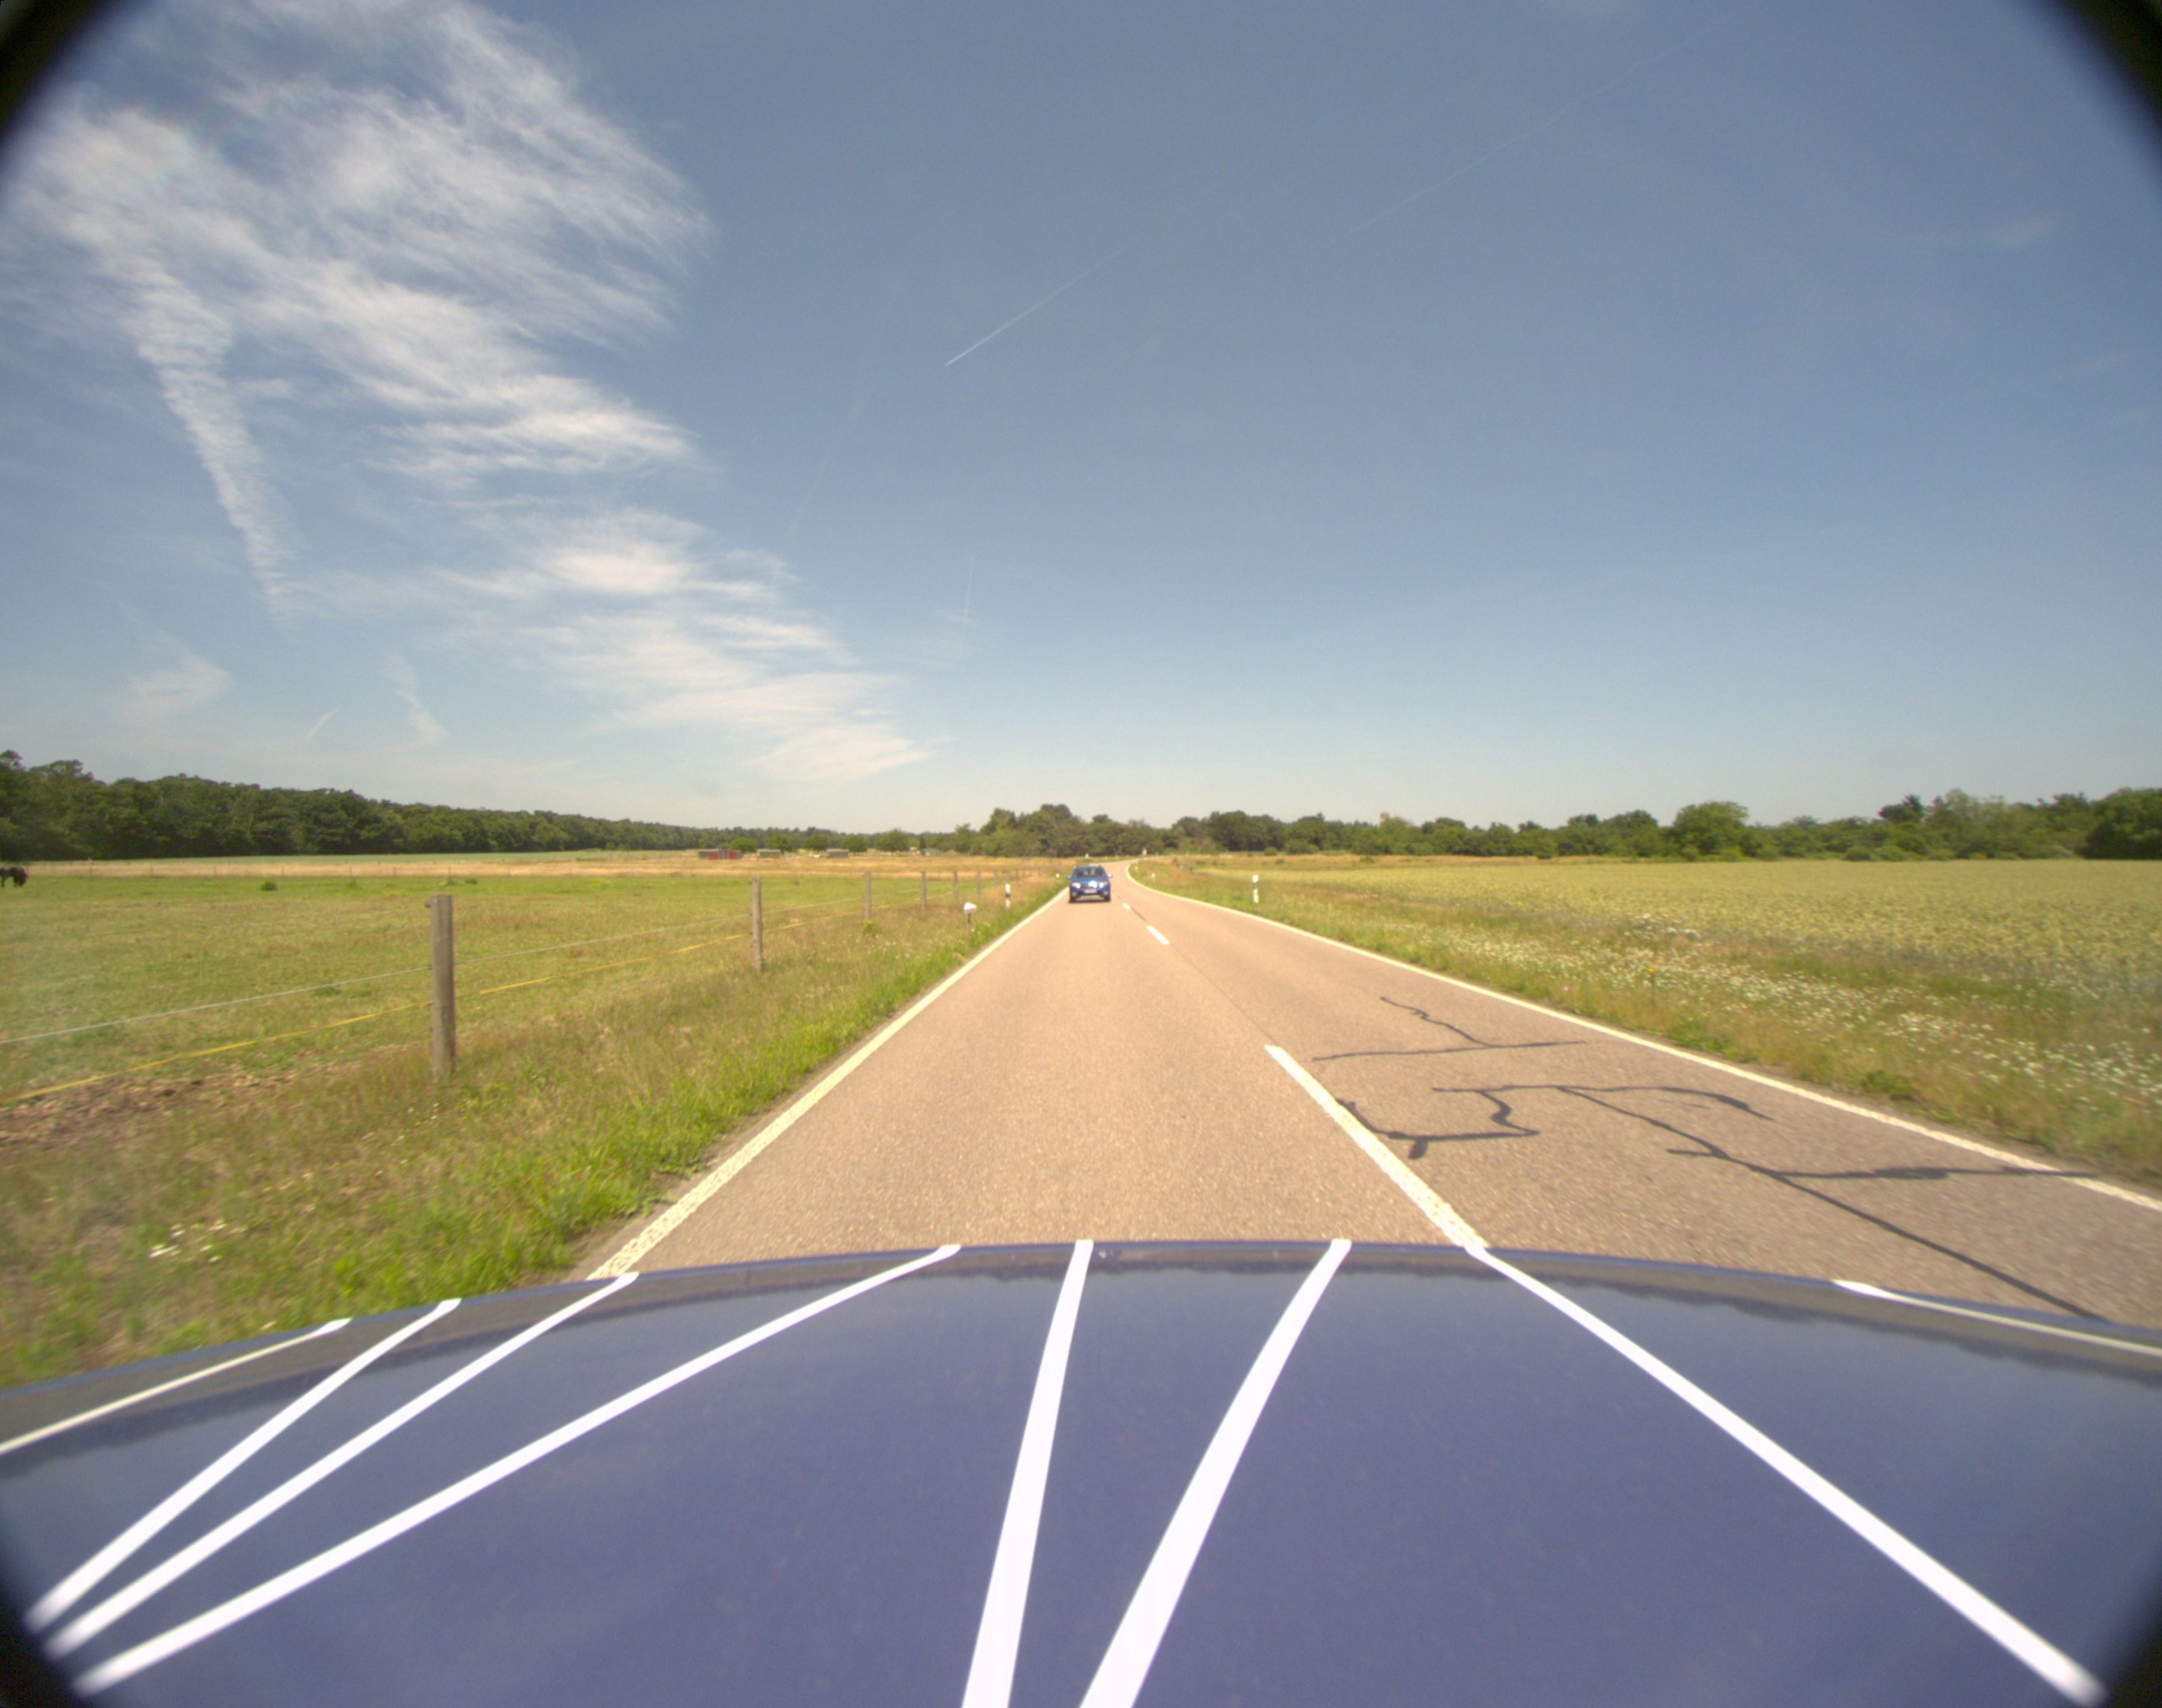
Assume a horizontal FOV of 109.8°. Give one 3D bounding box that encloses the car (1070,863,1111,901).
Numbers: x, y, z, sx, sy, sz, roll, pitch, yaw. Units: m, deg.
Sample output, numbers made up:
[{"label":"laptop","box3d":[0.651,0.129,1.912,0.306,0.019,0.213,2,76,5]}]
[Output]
[{"label":"car","box3d":[0.424,1.230,35.008,1.734,1.572,4.000,-2,-1,0]}]
